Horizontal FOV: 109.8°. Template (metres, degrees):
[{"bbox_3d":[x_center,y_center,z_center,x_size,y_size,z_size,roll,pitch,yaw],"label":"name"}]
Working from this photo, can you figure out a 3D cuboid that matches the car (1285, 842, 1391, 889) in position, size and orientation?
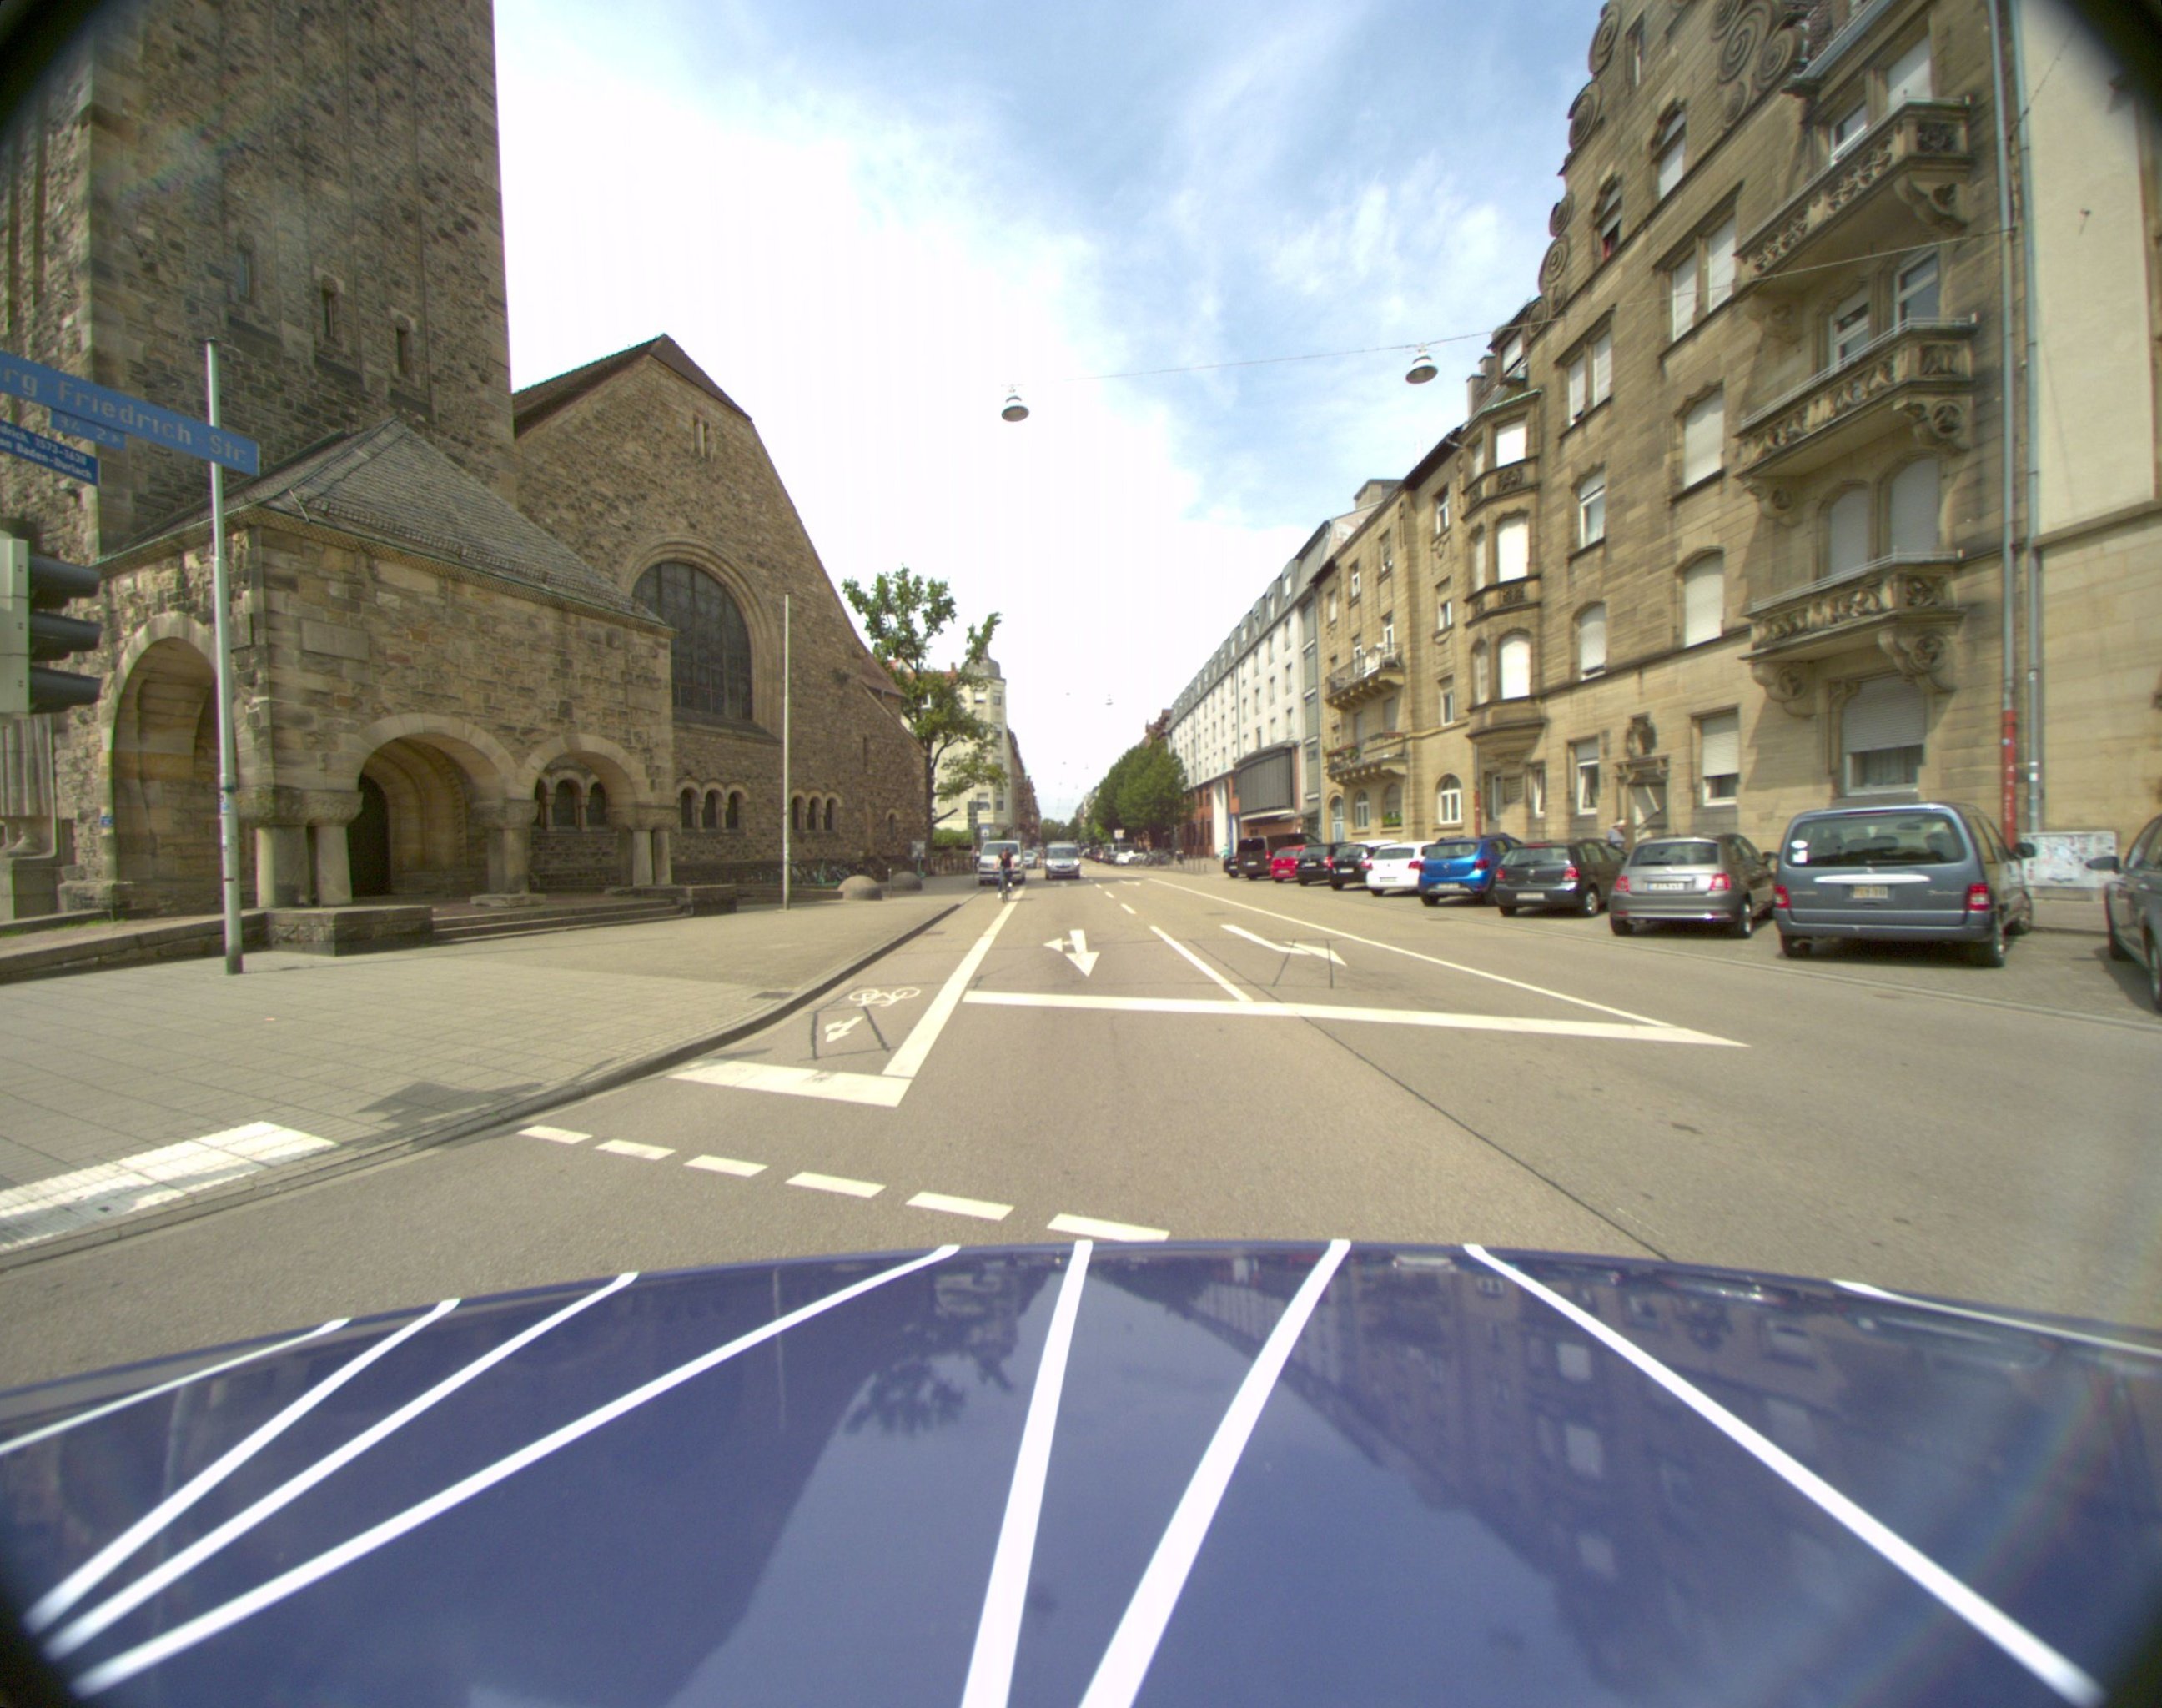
[{"bbox_3d":[9.377,0.380,27.600,4.004,1.494,1.627,-2,1,-37],"label":"car"}]

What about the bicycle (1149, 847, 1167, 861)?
[{"bbox_3d":[6.152,0.016,60.804,1.409,1.020,0.401,-2,1,0],"label":"bicycle"}]

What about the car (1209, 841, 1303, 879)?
[{"bbox_3d":[8.417,0.273,36.307,4.679,1.401,1.895,-5,1,-40],"label":"car"}]

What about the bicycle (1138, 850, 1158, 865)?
[{"bbox_3d":[5.026,0.276,56.927,1.409,1.032,0.401,-4,1,0],"label":"bicycle"}]

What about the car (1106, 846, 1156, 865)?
[{"bbox_3d":[4.486,0.126,67.991,4.324,1.461,1.713,-2,1,-35],"label":"car"}]

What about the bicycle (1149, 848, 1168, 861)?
[{"bbox_3d":[6.170,0.028,60.319,1.409,1.020,0.401,-2,1,0],"label":"bicycle"}]

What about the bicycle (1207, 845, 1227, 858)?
[{"bbox_3d":[11.727,-0.243,65.426,1.614,0.921,0.932,-7,0,10],"label":"bicycle"}]

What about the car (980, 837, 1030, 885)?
[{"bbox_3d":[-3.396,0.291,34.723,2.020,2.017,5.121,0,1,-3],"label":"car"}]

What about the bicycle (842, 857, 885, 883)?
[{"bbox_3d":[-9.576,0.718,33.457,1.779,1.105,0.546,-1,1,17],"label":"bicycle"}]

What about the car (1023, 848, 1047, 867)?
[{"bbox_3d":[-3.634,0.264,60.449,1.760,1.460,4.417,-1,0,-3],"label":"car"}]

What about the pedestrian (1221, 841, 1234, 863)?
[{"bbox_3d":[9.998,-0.170,51.926,0.662,1.477,0.508,-2,1,-14],"label":"pedestrian"}]

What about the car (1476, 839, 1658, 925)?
[{"bbox_3d":[9.810,0.478,15.235,3.910,1.435,1.832,-2,1,-37],"label":"car"}]

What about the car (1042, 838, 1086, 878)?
[{"bbox_3d":[-0.827,0.199,39.476,1.942,1.913,4.006,-2,0,2],"label":"car"}]

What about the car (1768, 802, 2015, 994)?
[{"bbox_3d":[10.039,0.381,9.381,4.020,1.868,1.792,-2,1,-40],"label":"car"}]

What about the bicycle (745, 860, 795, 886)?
[{"bbox_3d":[-11.664,0.701,28.481,1.778,0.952,0.546,1,1,17],"label":"bicycle"}]

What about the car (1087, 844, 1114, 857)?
[{"bbox_3d":[3.018,-0.483,117.344,4.012,1.847,1.687,-2,0,-35],"label":"car"}]

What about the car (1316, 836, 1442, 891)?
[{"bbox_3d":[9.681,0.269,24.605,4.019,1.555,1.792,-2,1,-34],"label":"car"}]

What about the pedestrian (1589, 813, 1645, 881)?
[{"bbox_3d":[13.096,-0.180,18.579,0.793,1.586,0.678,-4,1,-2],"label":"pedestrian"}]

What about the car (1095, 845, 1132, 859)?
[{"bbox_3d":[3.704,-0.257,87.117,4.012,1.445,1.687,-2,0,-35],"label":"car"}]

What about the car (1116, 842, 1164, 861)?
[{"bbox_3d":[5.107,-0.244,65.626,4.013,1.536,1.598,-2,1,-36],"label":"car"}]

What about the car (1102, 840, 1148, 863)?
[{"bbox_3d":[4.314,-0.238,73.838,4.011,1.987,1.857,-4,2,-33],"label":"car"}]

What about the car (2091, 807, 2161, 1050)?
[{"bbox_3d":[9.871,0.472,6.155,4.020,1.763,1.792,-2,1,-40],"label":"car"}]

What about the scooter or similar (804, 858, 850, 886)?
[{"bbox_3d":[-10.400,0.744,31.129,1.779,1.133,0.546,-1,1,17],"label":"scooter or similar"}]

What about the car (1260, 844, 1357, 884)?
[{"bbox_3d":[9.126,0.362,30.287,4.020,1.401,1.792,-2,1,-41],"label":"car"}]

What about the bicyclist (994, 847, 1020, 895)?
[{"bbox_3d":[-2.262,0.513,23.280,0.649,1.409,1.094,-2,1,-1],"label":"bicyclist"}]

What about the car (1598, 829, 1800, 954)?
[{"bbox_3d":[9.924,0.461,12.093,4.020,1.642,1.792,-2,1,-40],"label":"car"}]

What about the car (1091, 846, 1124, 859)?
[{"bbox_3d":[3.377,-0.172,97.903,4.012,1.559,1.687,-2,0,-35],"label":"car"}]

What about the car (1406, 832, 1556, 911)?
[{"bbox_3d":[9.573,0.359,18.092,3.785,1.642,1.720,-2,1,-38],"label":"car"}]

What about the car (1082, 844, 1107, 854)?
[{"bbox_3d":[2.420,-0.878,135.437,4.012,1.746,1.687,-2,0,-35],"label":"car"}]

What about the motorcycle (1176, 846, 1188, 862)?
[{"bbox_3d":[7.692,0.001,57.835,0.585,1.166,1.779,-3,1,0],"label":"motorcycle"}]

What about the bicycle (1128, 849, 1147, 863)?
[{"bbox_3d":[4.657,0.176,62.534,1.409,1.020,0.401,-4,1,0],"label":"bicycle"}]

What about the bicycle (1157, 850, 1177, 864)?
[{"bbox_3d":[6.484,0.233,57.249,1.409,1.020,0.401,-2,1,0],"label":"bicycle"}]

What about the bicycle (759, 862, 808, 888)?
[{"bbox_3d":[-11.410,0.808,29.113,1.779,0.952,0.546,-1,1,17],"label":"bicycle"}]

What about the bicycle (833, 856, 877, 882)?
[{"bbox_3d":[-9.758,0.646,32.830,1.771,1.105,0.546,-1,1,17],"label":"bicycle"}]

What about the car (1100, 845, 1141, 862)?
[{"bbox_3d":[4.166,-0.077,79.403,4.012,1.605,1.708,-2,0,-35],"label":"car"}]

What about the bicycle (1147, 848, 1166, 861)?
[{"bbox_3d":[6.166,0.027,62.089,1.409,1.020,0.401,-2,1,0],"label":"bicycle"}]

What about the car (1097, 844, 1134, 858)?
[{"bbox_3d":[3.884,-0.376,84.909,4.012,1.381,1.592,-2,0,-35],"label":"car"}]

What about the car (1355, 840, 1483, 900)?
[{"bbox_3d":[9.615,0.401,21.523,3.692,1.473,1.737,-2,1,-38],"label":"car"}]

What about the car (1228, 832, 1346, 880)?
[{"bbox_3d":[9.138,0.046,33.498,5.280,1.899,2.116,-2,1,-36],"label":"car"}]

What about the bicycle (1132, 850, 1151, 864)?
[{"bbox_3d":[4.735,0.227,59.813,1.409,1.032,0.401,-4,1,0],"label":"bicycle"}]

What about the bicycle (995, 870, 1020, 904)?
[{"bbox_3d":[-2.236,0.994,23.283,0.586,0.927,1.783,-2,0,-1],"label":"bicycle"}]

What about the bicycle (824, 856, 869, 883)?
[{"bbox_3d":[-9.964,0.652,32.247,1.779,1.105,0.546,-1,1,17],"label":"bicycle"}]

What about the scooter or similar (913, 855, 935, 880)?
[{"bbox_3d":[-7.876,0.650,38.246,0.545,1.200,1.443,-1,1,11],"label":"scooter or similar"}]

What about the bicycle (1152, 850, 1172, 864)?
[{"bbox_3d":[6.237,0.240,58.485,1.409,1.020,0.401,-2,1,0],"label":"bicycle"}]

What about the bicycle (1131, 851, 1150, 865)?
[{"bbox_3d":[4.716,0.294,60.456,1.409,1.020,0.401,-4,1,0],"label":"bicycle"}]

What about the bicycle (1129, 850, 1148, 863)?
[{"bbox_3d":[4.680,0.197,61.727,1.409,1.020,0.401,-4,1,0],"label":"bicycle"}]

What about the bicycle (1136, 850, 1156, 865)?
[{"bbox_3d":[4.919,0.246,57.817,1.409,1.032,0.401,-4,1,0],"label":"bicycle"}]

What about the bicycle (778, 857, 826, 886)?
[{"bbox_3d":[-11.002,0.673,29.977,1.779,1.105,0.546,-1,1,17],"label":"bicycle"}]
